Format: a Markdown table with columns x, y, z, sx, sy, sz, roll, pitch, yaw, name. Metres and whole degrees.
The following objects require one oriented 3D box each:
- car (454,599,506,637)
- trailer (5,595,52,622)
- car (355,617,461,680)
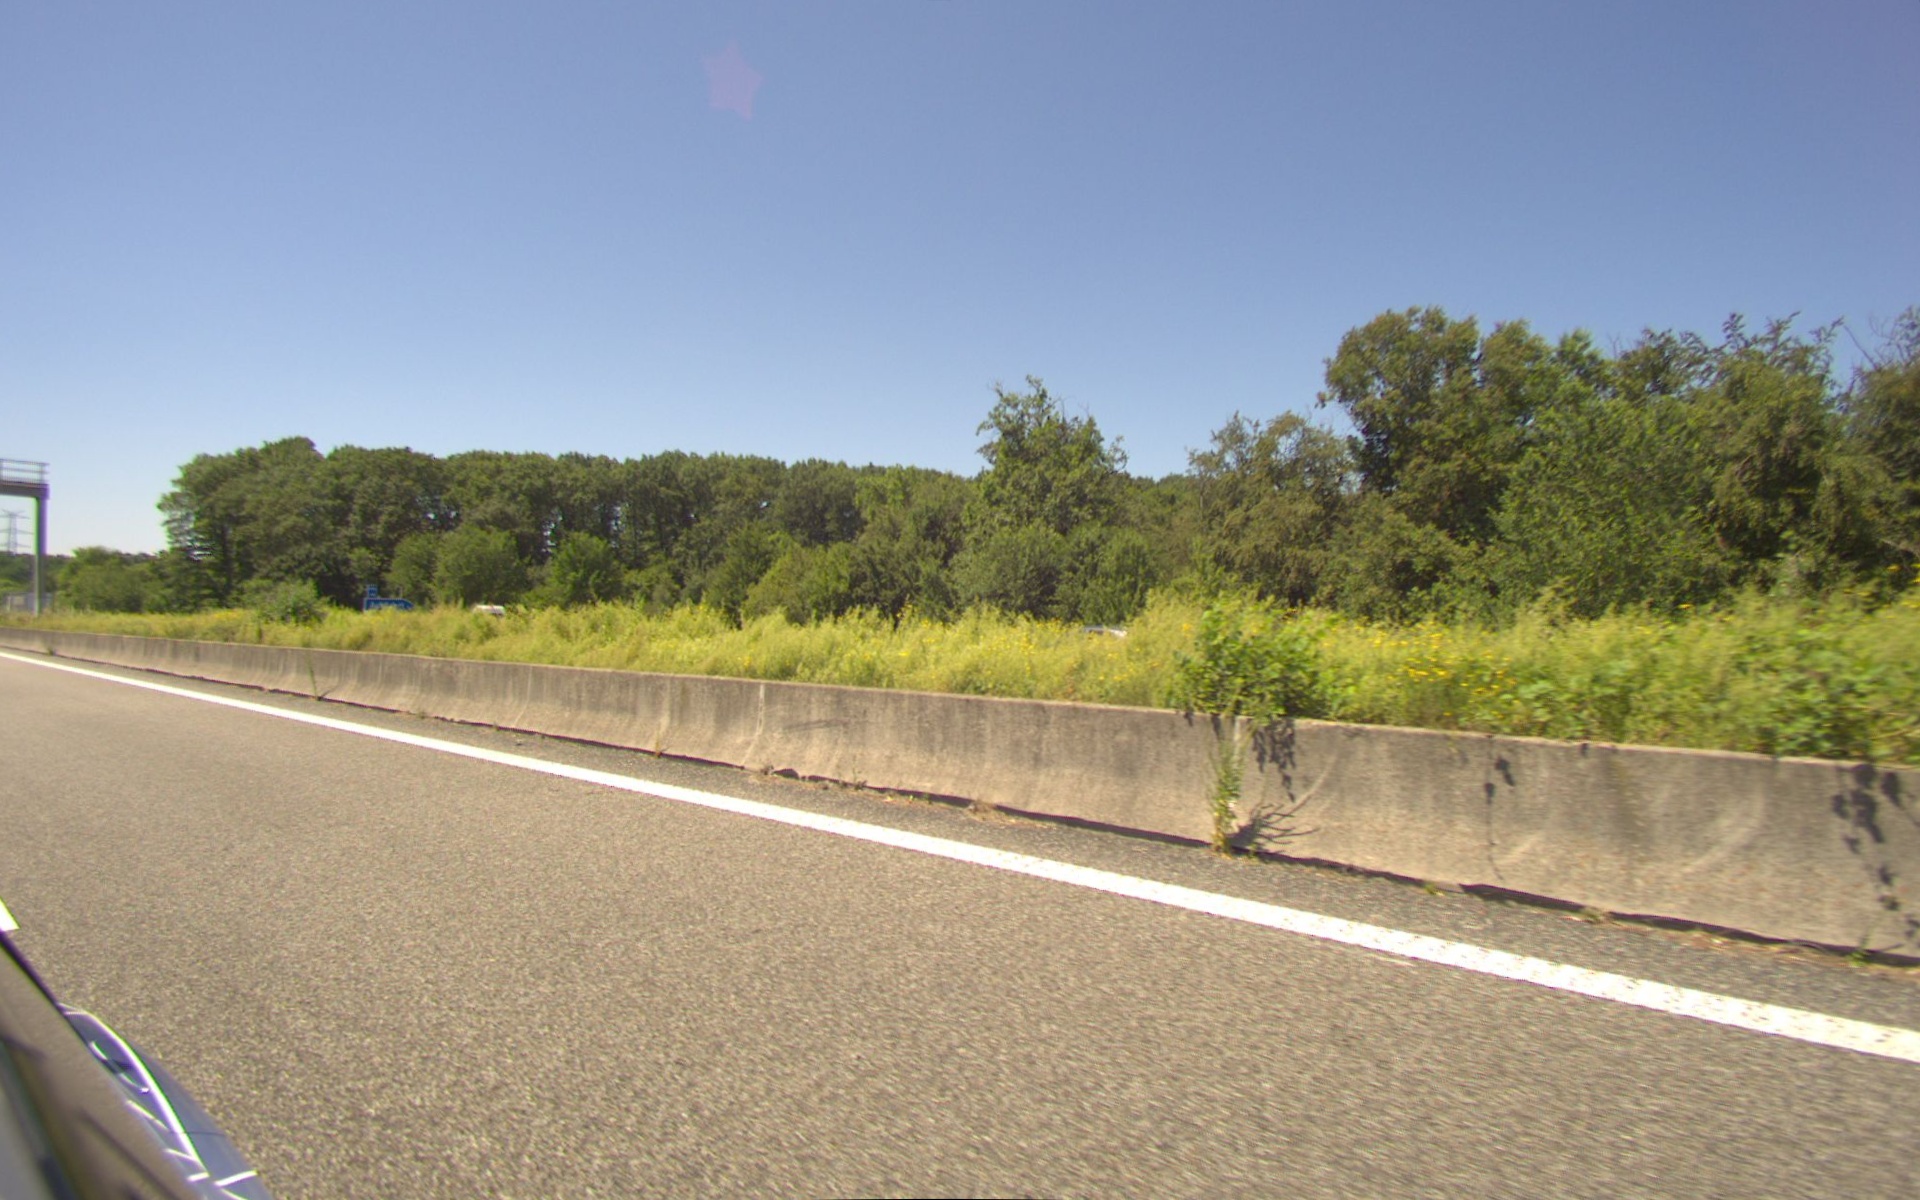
| x | y | z | sx | sy | sz | roll | pitch | yaw | name |
| --- | --- | --- | --- | --- | --- | --- | --- | --- | --- |
| -30.723 | 1.121 | 64.740 | 1.967 | 2.334 | 5.556 | 0 | -1 | -36 | car |
| -117.251 | 1.046 | 127.367 | 11.116 | 3.210 | 2.939 | -1 | 0 | 40 | trailer |
| -19.066 | 1.608 | 34.877 | 3.998 | 2.029 | 1.973 | -1 | -1 | 41 | car |
